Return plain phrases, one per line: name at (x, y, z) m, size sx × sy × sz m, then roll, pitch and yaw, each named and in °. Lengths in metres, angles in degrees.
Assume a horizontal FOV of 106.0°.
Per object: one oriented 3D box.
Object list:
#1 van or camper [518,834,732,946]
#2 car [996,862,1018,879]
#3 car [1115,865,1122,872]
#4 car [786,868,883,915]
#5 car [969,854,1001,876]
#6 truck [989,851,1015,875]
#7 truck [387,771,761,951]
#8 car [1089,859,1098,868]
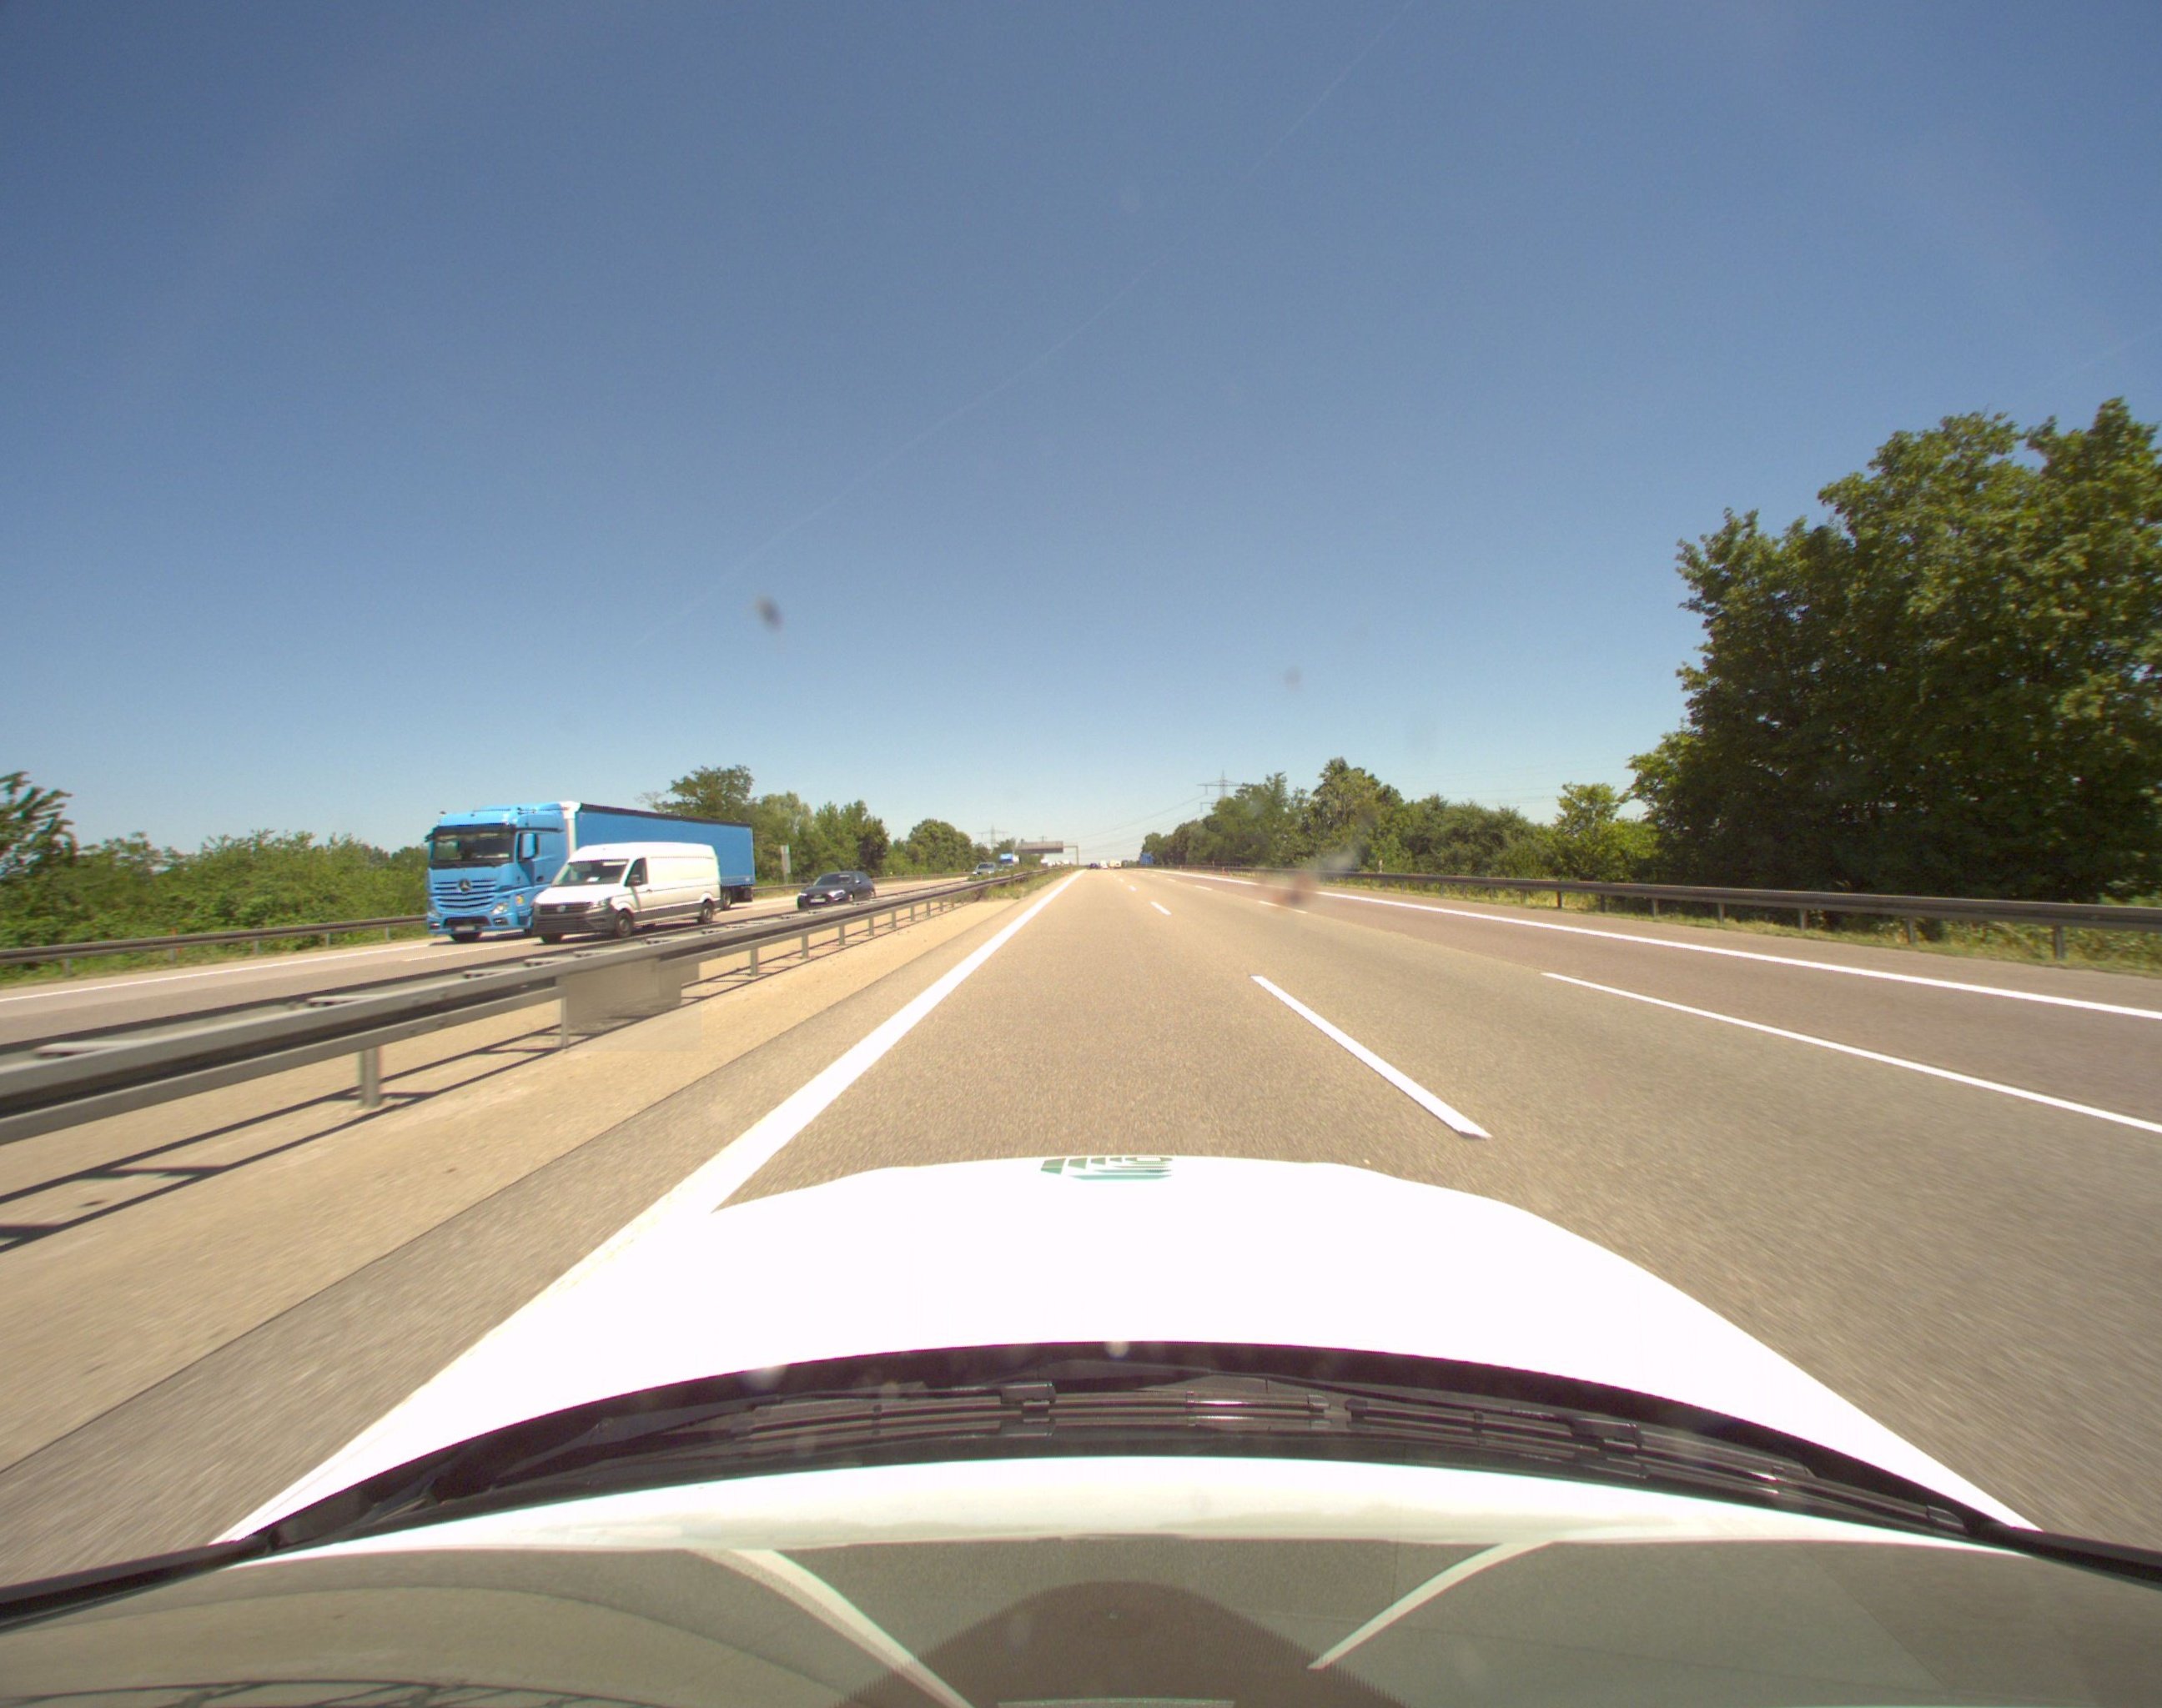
van or camper at (-12.510, 0.883, 23.179) m, size 1.987 × 2.566 × 7.033 m, roll -4°, pitch 0°, yaw 0°
car at (-8.285, 1.855, 91.993) m, size 1.986 × 1.730 × 4.093 m, roll -2°, pitch 0°, yaw 1°
car at (11.768, 4.485, 255.314) m, size 1.987 × 2.014 × 4.000 m, roll -2°, pitch -1°, yaw 0°
car at (-8.959, 1.315, 30.100) m, size 1.986 × 1.484 × 4.787 m, roll -2°, pitch 0°, yaw 1°
car at (-8.121, 0.919, 69.616) m, size 1.986 × 1.730 × 5.108 m, roll -2°, pitch 0°, yaw 1°
truck at (-14.571, 1.709, 150.911) m, size 2.719 × 4.053 × 15.938 m, roll -2°, pitch -1°, yaw 1°
truck at (-17.247, 0.242, 30.820) m, size 3.215 × 4.720 × 16.858 m, roll -4°, pitch 0°, yaw 0°
car at (2.806, 2.204, 182.605) m, size 1.785 × 2.014 × 3.888 m, roll 0°, pitch -1°, yaw 1°
